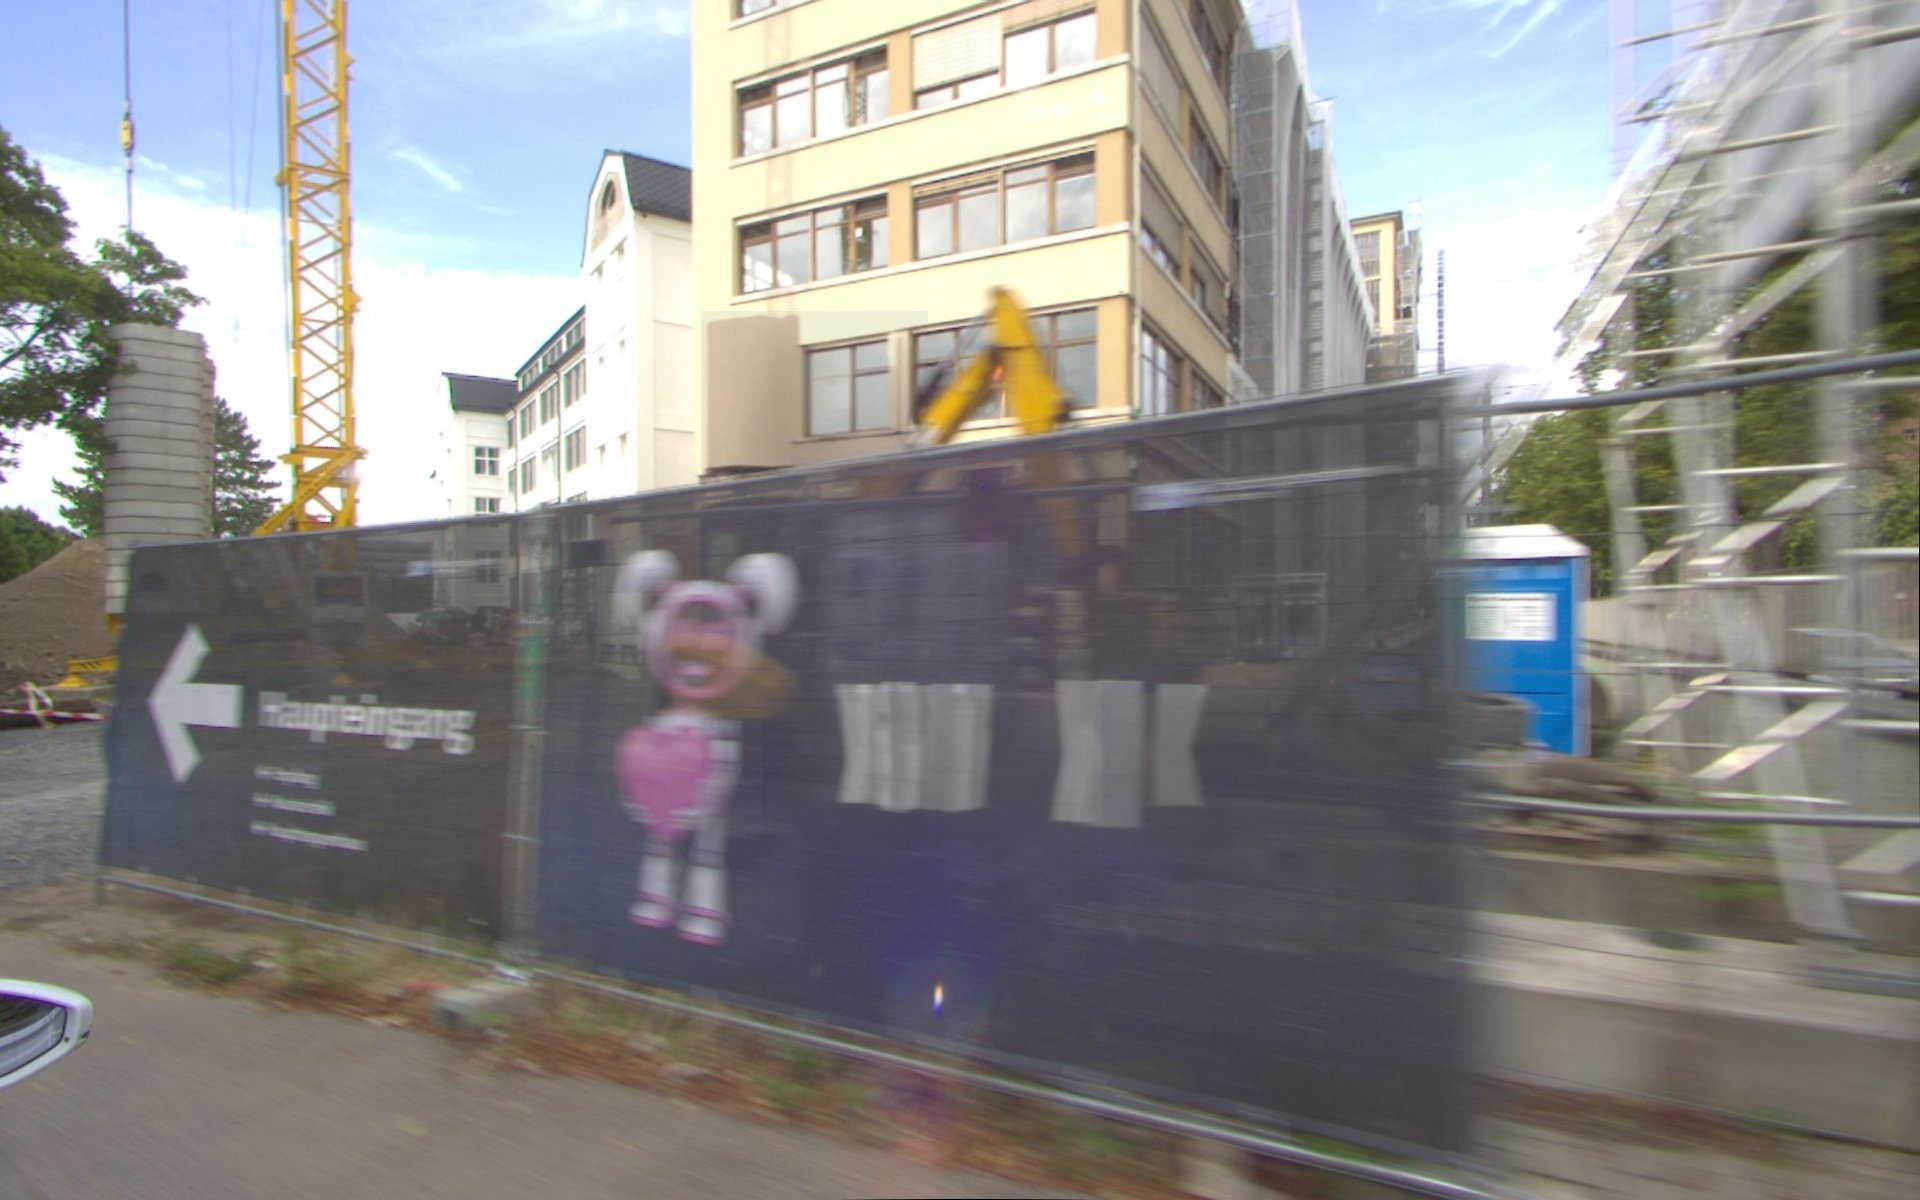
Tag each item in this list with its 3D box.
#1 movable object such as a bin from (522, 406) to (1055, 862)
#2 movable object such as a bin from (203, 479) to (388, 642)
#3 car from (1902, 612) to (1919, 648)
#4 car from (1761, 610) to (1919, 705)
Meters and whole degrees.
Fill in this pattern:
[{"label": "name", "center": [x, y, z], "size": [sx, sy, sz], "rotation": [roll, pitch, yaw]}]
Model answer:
[{"label": "movable object such as a bin", "center": [-1.227, 0.232, 7.345], "size": [3.021, 2.474, 2.482], "rotation": [-1, -1, 37]}, {"label": "movable object such as a bin", "center": [-30.855, -1.483, 47.306], "size": [3.787, 6.755, 10.975], "rotation": [0, -1, -14]}, {"label": "car", "center": [44.382, 1.338, 44.895], "size": [3.584, 1.623, 1.678], "rotation": [0, -1, -19]}, {"label": "car", "center": [15.034, 0.902, 17.020], "size": [1.571, 1.421, 3.946], "rotation": [0, -1, 29]}]
